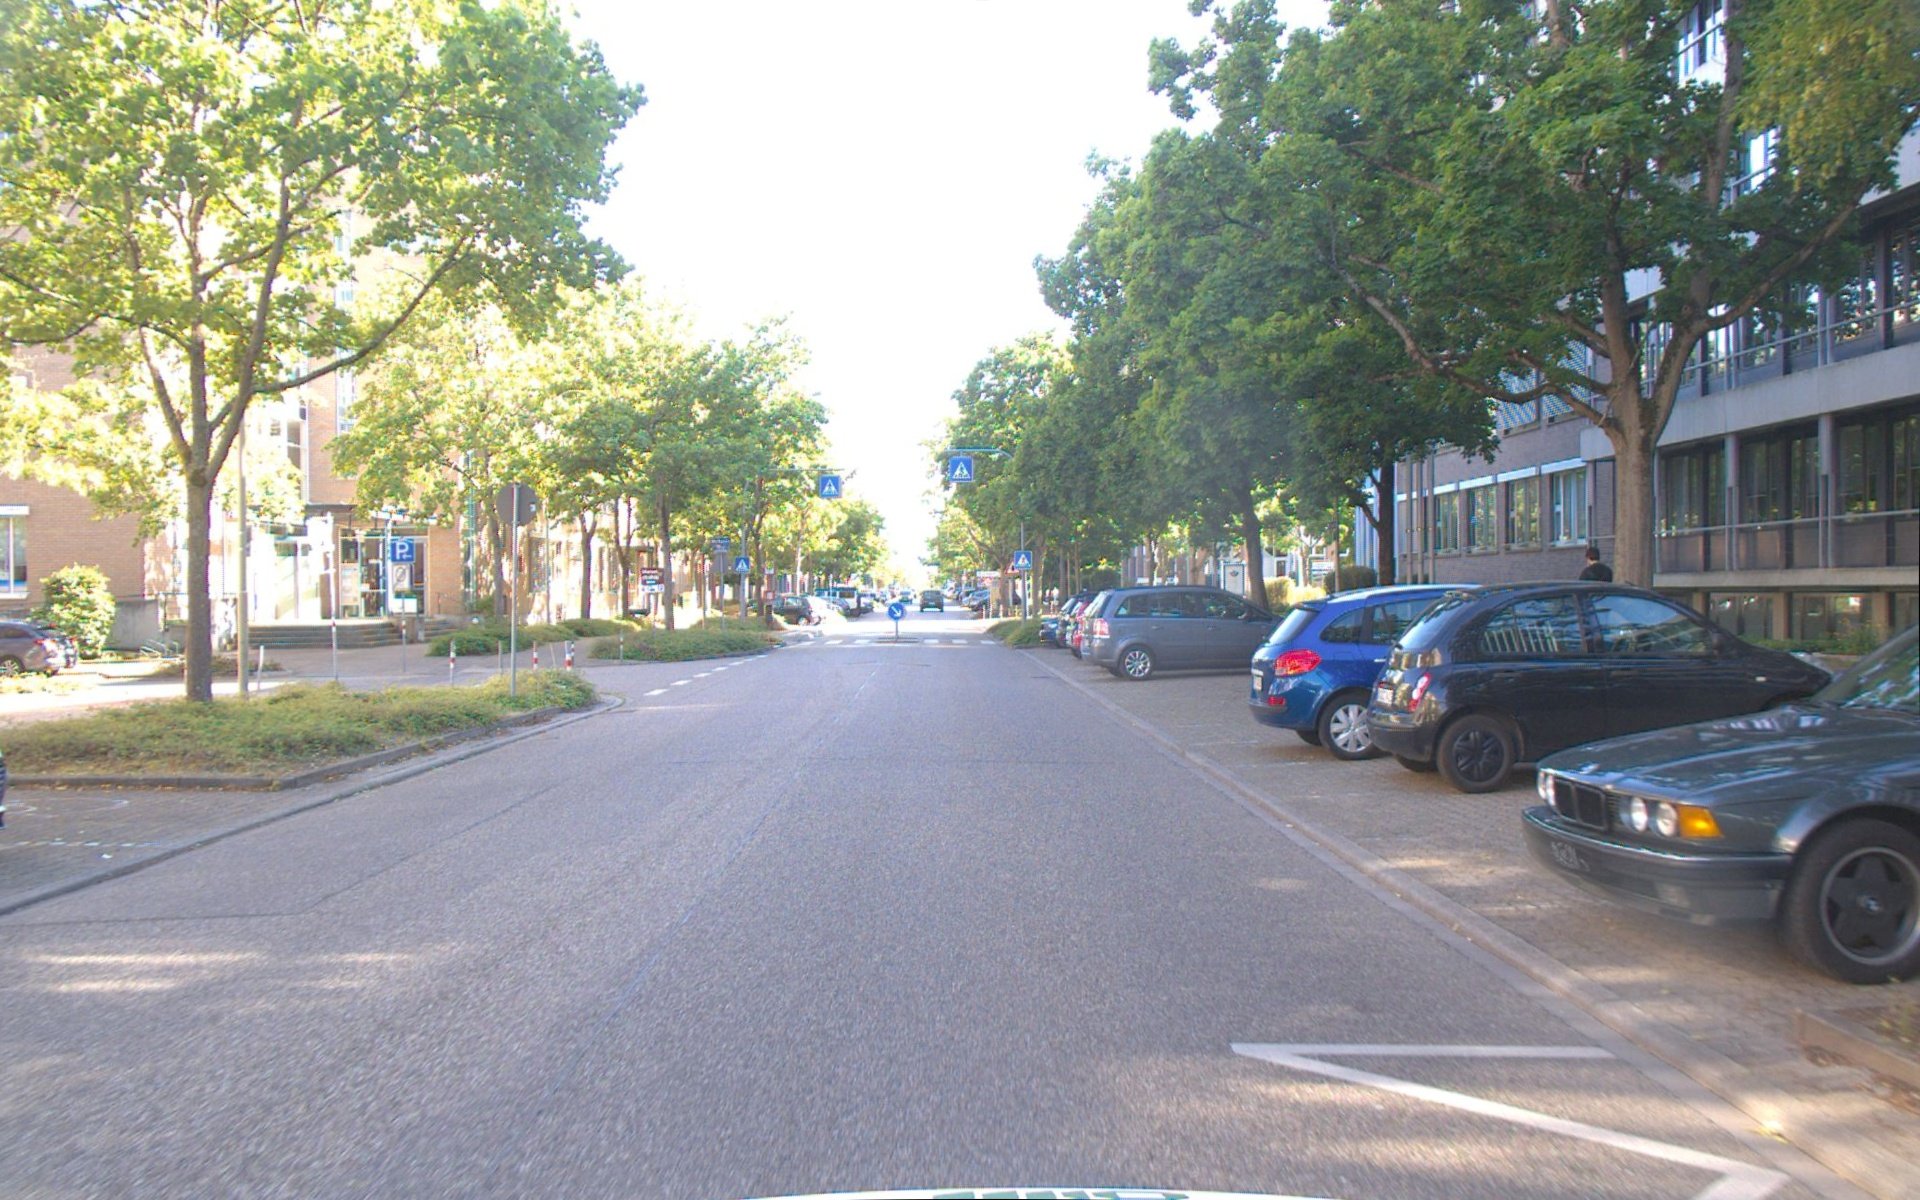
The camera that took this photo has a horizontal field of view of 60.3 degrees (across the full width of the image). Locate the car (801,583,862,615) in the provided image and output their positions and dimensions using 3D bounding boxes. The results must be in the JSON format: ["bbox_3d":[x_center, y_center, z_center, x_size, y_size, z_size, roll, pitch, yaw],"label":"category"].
[{"bbox_3d":[-8.883,-0.073,114.539,3.904,2.049,2.001,-2,0,3],"label":"car"}]

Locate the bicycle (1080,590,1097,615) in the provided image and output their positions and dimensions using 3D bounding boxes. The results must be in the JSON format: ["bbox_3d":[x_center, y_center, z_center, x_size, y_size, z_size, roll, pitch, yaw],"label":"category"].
[{"bbox_3d":[6.355,0.117,81.710,0.669,1.236,1.978,-2,0,10],"label":"bicycle"}]

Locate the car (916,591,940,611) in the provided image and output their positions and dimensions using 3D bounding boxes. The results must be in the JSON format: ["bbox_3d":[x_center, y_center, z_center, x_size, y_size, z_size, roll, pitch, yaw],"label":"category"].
[{"bbox_3d":[-2.678,0.093,138.748,1.953,1.668,3.999,0,0,-1],"label":"car"}]

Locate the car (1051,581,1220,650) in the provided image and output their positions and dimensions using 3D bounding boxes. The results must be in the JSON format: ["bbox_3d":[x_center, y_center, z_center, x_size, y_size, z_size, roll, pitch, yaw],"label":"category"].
[{"bbox_3d":[4.557,0.401,43.384,4.108,1.562,1.811,-3,0,-4],"label":"car"}]

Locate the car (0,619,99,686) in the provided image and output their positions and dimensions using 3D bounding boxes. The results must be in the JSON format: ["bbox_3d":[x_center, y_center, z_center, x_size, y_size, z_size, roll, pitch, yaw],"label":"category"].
[{"bbox_3d":[-24.125,1.339,41.349,4.106,1.502,2.000,-2,2,-1],"label":"car"}]

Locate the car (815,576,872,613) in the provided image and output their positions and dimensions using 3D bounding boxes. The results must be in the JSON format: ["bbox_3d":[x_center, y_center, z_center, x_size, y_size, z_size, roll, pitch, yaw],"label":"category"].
[{"bbox_3d":[-8.423,-0.393,119.621,3.903,2.586,1.863,0,0,3],"label":"car"}]

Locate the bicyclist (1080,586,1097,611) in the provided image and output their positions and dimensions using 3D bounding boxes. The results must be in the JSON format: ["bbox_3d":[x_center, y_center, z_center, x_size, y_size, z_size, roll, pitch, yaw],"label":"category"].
[{"bbox_3d":[6.353,-0.072,81.705,0.683,1.236,0.946,-2,0,10],"label":"bicyclist"}]

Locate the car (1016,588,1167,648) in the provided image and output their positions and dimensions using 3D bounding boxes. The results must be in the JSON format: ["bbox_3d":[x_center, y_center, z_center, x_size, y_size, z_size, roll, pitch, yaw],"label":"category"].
[{"bbox_3d":[3.803,0.523,48.118,4.108,1.498,1.811,-3,0,-4],"label":"car"}]

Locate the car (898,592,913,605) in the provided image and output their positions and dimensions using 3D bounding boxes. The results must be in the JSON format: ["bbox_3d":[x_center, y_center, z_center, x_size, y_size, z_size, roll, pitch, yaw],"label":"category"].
[{"bbox_3d":[-6.626,-0.221,201.211,1.776,1.551,4.000,-2,0,0],"label":"car"}]

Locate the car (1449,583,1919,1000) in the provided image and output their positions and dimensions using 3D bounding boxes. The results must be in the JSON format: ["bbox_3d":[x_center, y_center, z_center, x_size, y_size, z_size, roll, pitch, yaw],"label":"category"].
[{"bbox_3d":[4.852,0.639,7.284,4.729,1.444,2.031,-3,0,-3],"label":"car"}]

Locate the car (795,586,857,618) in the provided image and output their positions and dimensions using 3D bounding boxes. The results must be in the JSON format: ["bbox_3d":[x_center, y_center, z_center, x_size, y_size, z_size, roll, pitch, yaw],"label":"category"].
[{"bbox_3d":[-8.998,0.149,111.510,3.904,2.049,2.001,-2,0,3],"label":"car"}]

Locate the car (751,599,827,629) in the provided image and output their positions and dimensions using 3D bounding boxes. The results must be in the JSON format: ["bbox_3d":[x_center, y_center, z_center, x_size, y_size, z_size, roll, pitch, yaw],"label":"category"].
[{"bbox_3d":[-8.674,0.719,84.192,3.774,1.499,1.810,1,0,-6],"label":"car"}]

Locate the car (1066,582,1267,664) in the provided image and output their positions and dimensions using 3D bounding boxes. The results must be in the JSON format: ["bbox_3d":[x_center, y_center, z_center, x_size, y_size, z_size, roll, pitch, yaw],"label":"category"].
[{"bbox_3d":[4.543,0.489,36.769,4.108,1.562,1.811,-3,0,-4],"label":"car"}]

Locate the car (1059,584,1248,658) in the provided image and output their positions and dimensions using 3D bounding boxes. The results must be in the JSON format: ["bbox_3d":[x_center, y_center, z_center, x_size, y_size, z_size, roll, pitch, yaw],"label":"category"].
[{"bbox_3d":[4.496,0.484,38.782,4.108,1.474,1.811,-3,0,-4],"label":"car"}]

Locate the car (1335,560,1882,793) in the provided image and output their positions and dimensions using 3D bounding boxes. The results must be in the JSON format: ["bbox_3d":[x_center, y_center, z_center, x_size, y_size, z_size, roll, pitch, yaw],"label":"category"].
[{"bbox_3d":[5.003,0.559,13.120,3.568,1.541,1.812,-3,0,-1],"label":"car"}]

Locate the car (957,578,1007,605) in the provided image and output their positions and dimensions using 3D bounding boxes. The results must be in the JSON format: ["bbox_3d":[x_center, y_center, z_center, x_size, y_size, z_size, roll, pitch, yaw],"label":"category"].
[{"bbox_3d":[1.764,-0.661,133.898,3.907,2.049,1.999,-2,0,-3],"label":"car"}]

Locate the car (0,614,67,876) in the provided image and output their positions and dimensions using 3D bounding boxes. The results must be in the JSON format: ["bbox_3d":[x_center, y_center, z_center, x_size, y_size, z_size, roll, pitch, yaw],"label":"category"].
[{"bbox_3d":[-7.511,0.853,9.358,3.907,1.512,1.806,0,0,-2],"label":"car"}]

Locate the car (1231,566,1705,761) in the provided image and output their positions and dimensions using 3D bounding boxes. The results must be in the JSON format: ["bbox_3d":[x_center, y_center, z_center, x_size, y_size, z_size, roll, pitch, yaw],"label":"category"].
[{"bbox_3d":[4.674,0.562,15.635,3.869,1.541,1.813,-3,0,0],"label":"car"}]

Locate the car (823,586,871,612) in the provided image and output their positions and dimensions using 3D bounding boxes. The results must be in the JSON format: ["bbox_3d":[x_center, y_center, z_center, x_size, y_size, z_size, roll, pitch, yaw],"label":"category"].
[{"bbox_3d":[-9.475,-0.059,138.994,3.907,2.049,1.999,-2,0,-3],"label":"car"}]

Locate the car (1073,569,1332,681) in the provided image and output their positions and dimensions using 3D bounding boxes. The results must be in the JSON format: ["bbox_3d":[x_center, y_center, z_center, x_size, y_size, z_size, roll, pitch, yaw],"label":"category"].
[{"bbox_3d":[4.312,0.423,29.783,4.265,1.733,1.811,-3,0,-4],"label":"car"}]

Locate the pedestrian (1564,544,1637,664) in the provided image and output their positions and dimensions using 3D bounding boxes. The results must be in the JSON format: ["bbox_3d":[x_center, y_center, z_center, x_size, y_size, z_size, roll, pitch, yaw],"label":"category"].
[{"bbox_3d":[9.746,0.057,25.194,0.595,1.776,1.191,-2,0,-1],"label":"pedestrian"}]
